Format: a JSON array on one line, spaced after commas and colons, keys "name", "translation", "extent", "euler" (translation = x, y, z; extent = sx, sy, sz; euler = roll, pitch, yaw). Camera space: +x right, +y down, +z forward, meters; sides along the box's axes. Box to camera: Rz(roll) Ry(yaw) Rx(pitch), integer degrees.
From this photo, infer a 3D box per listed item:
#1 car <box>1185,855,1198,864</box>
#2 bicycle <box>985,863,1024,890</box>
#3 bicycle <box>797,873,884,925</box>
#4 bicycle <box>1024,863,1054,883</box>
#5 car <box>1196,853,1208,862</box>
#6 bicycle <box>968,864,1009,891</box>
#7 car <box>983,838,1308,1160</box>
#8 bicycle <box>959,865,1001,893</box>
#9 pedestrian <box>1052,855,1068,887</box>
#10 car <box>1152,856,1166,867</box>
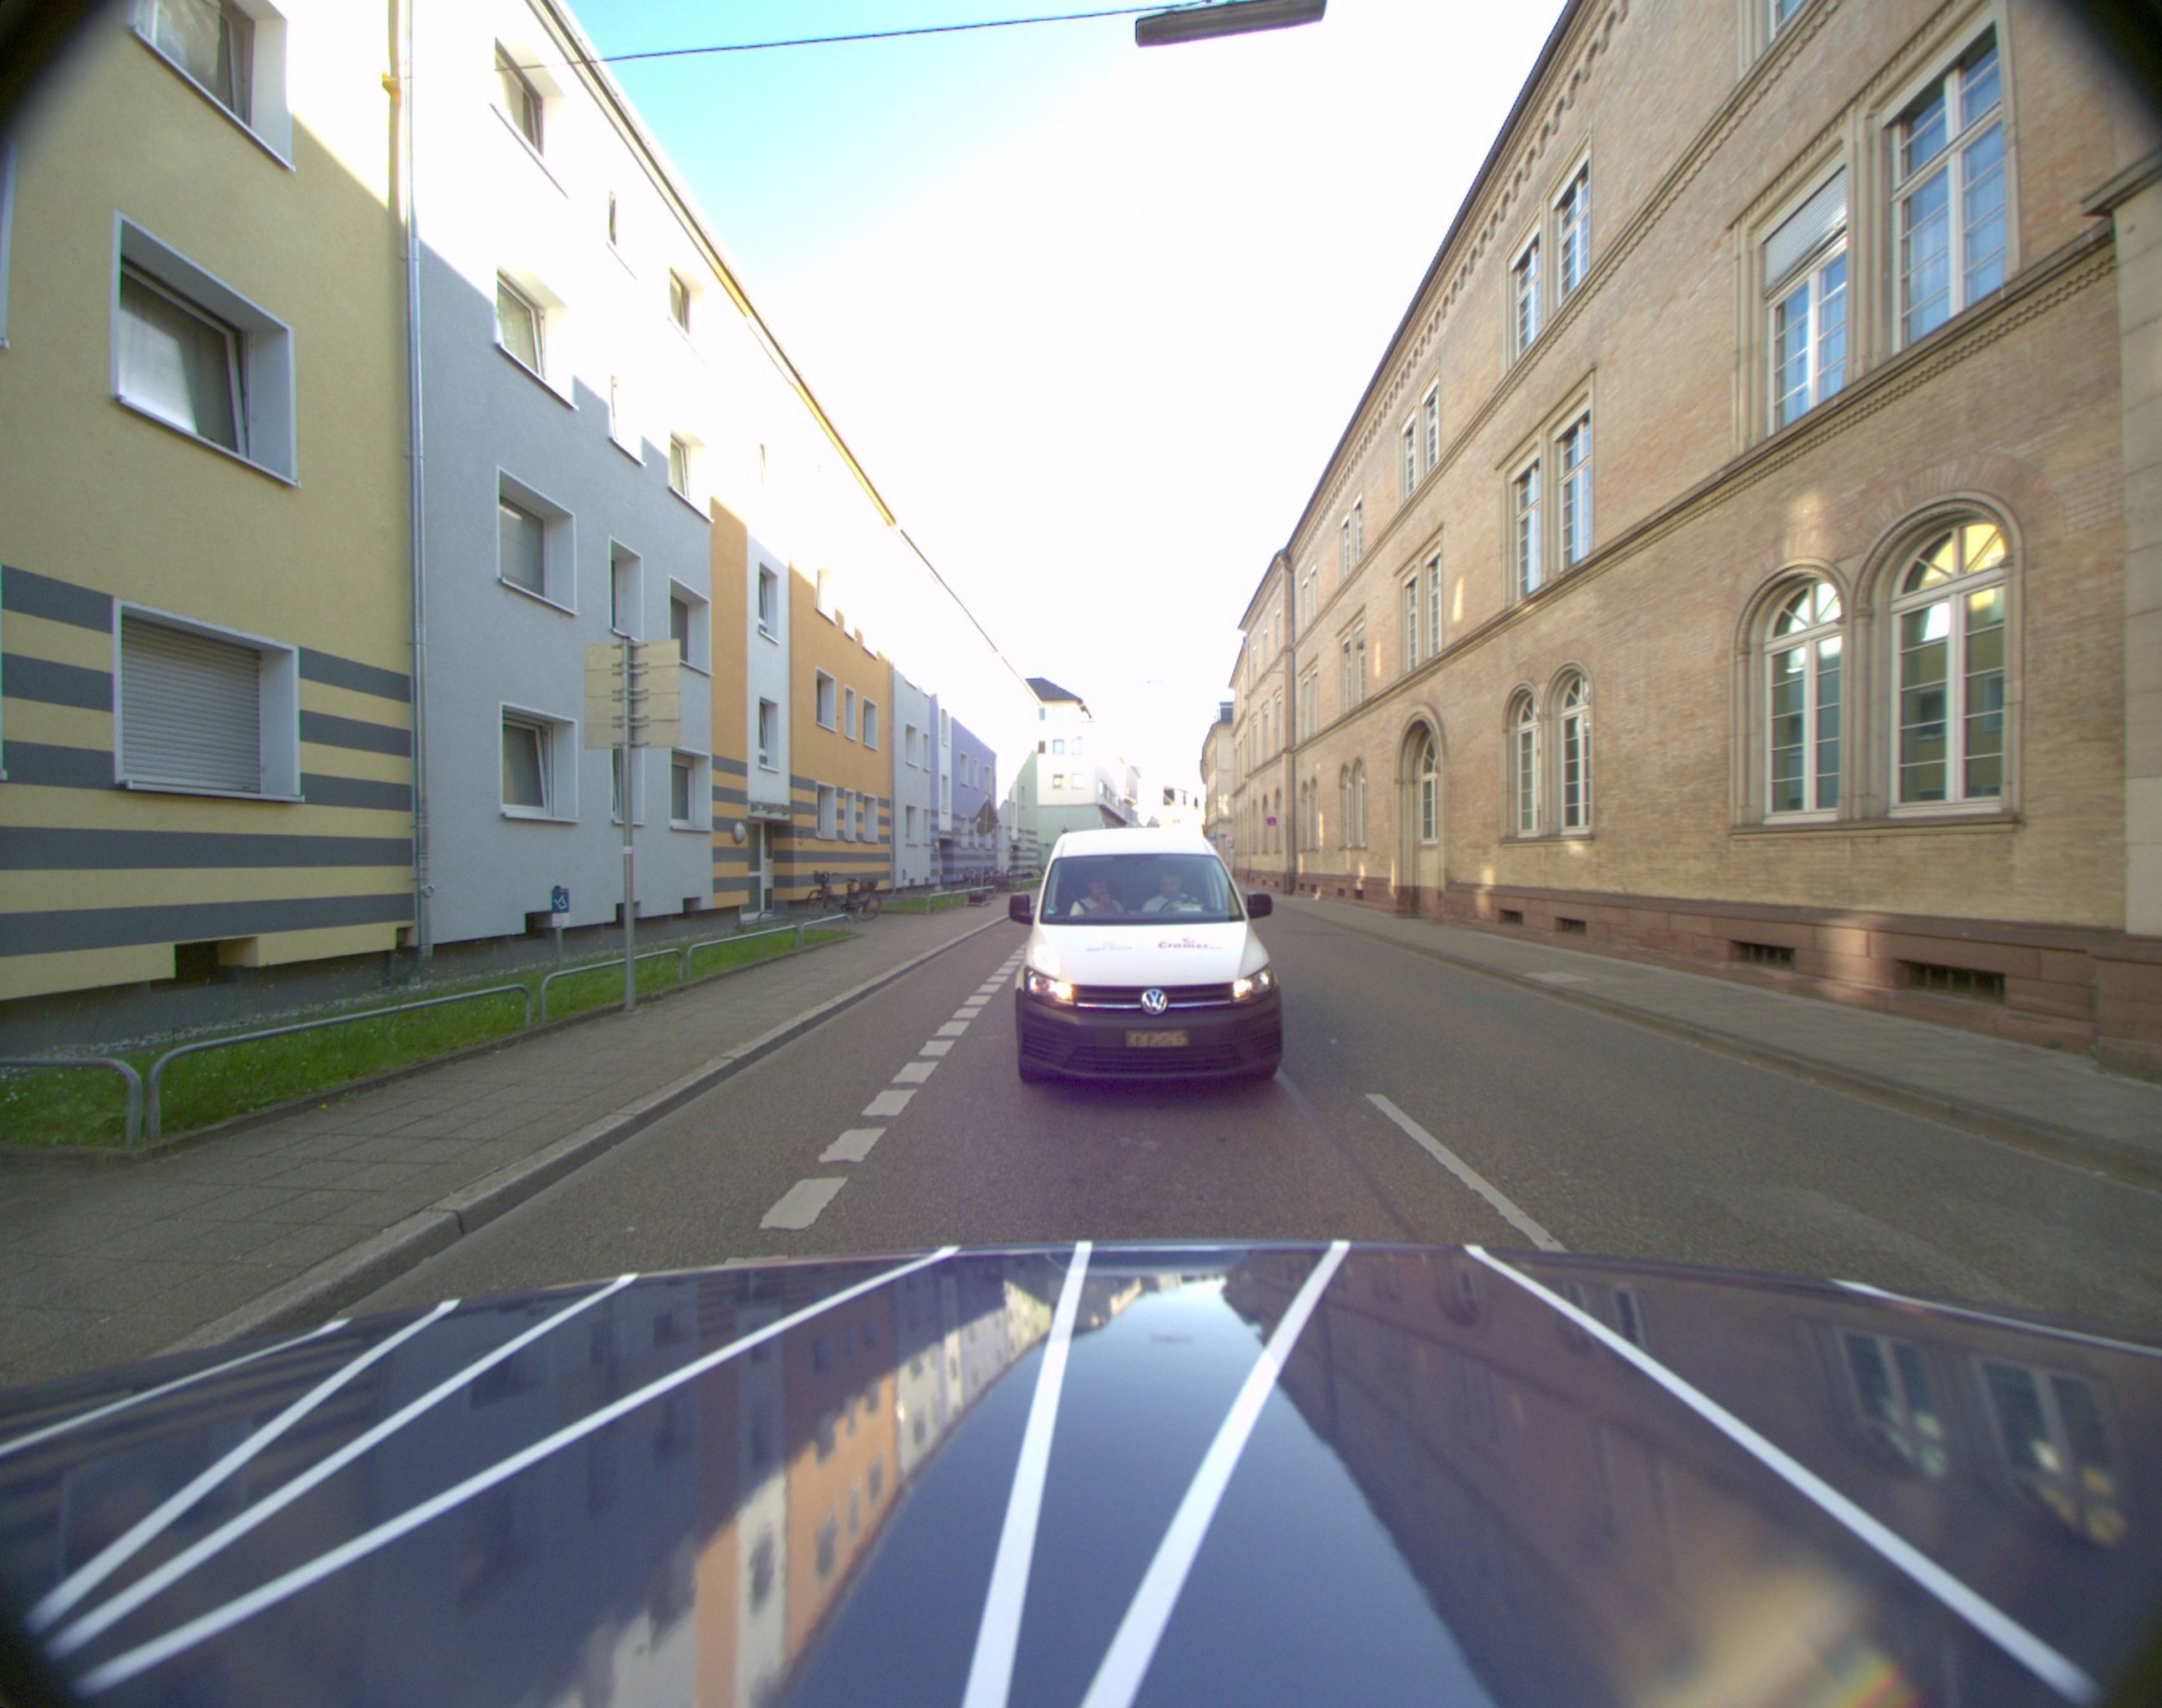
[{"name": "car", "translation": [22.094, 1.054, 152.018], "extent": [1.996, 1.643, 4.233], "euler": [-2, 1, 17]}, {"name": "bicycle", "translation": [-3.378, 0.995, 33.674], "extent": [1.676, 1.145, 0.484], "euler": [0, 0, 4]}, {"name": "bicycle", "translation": [-5.390, 1.008, 17.098], "extent": [1.780, 1.116, 0.484], "euler": [0, 0, -5]}, {"name": "bicycle", "translation": [-2.523, 1.143, 46.046], "extent": [1.779, 1.145, 0.484], "euler": [0, 0, 0]}, {"name": "car", "translation": [26.076, 0.768, 163.749], "extent": [1.996, 1.643, 4.233], "euler": [-2, 1, 17]}, {"name": "bicycle", "translation": [-4.037, 1.012, 33.129], "extent": [1.676, 1.145, 0.484], "euler": [0, 0, 4]}, {"name": "car", "translation": [0.392, 0.773, 6.846], "extent": [1.769, 1.761, 5.331], "euler": [-1, 1, 1]}, {"name": "bicycle", "translation": [-4.242, 1.039, 31.835], "extent": [1.676, 1.145, 0.484], "euler": [0, 0, 4]}, {"name": "pedestrian", "translation": [-1.092, 0.895, 40.160], "extent": [0.705, 1.627, 0.833], "euler": [2, 2, 5]}, {"name": "car", "translation": [12.634, 1.168, 122.695], "extent": [1.997, 1.643, 4.231], "euler": [-2, 1, 9]}]
